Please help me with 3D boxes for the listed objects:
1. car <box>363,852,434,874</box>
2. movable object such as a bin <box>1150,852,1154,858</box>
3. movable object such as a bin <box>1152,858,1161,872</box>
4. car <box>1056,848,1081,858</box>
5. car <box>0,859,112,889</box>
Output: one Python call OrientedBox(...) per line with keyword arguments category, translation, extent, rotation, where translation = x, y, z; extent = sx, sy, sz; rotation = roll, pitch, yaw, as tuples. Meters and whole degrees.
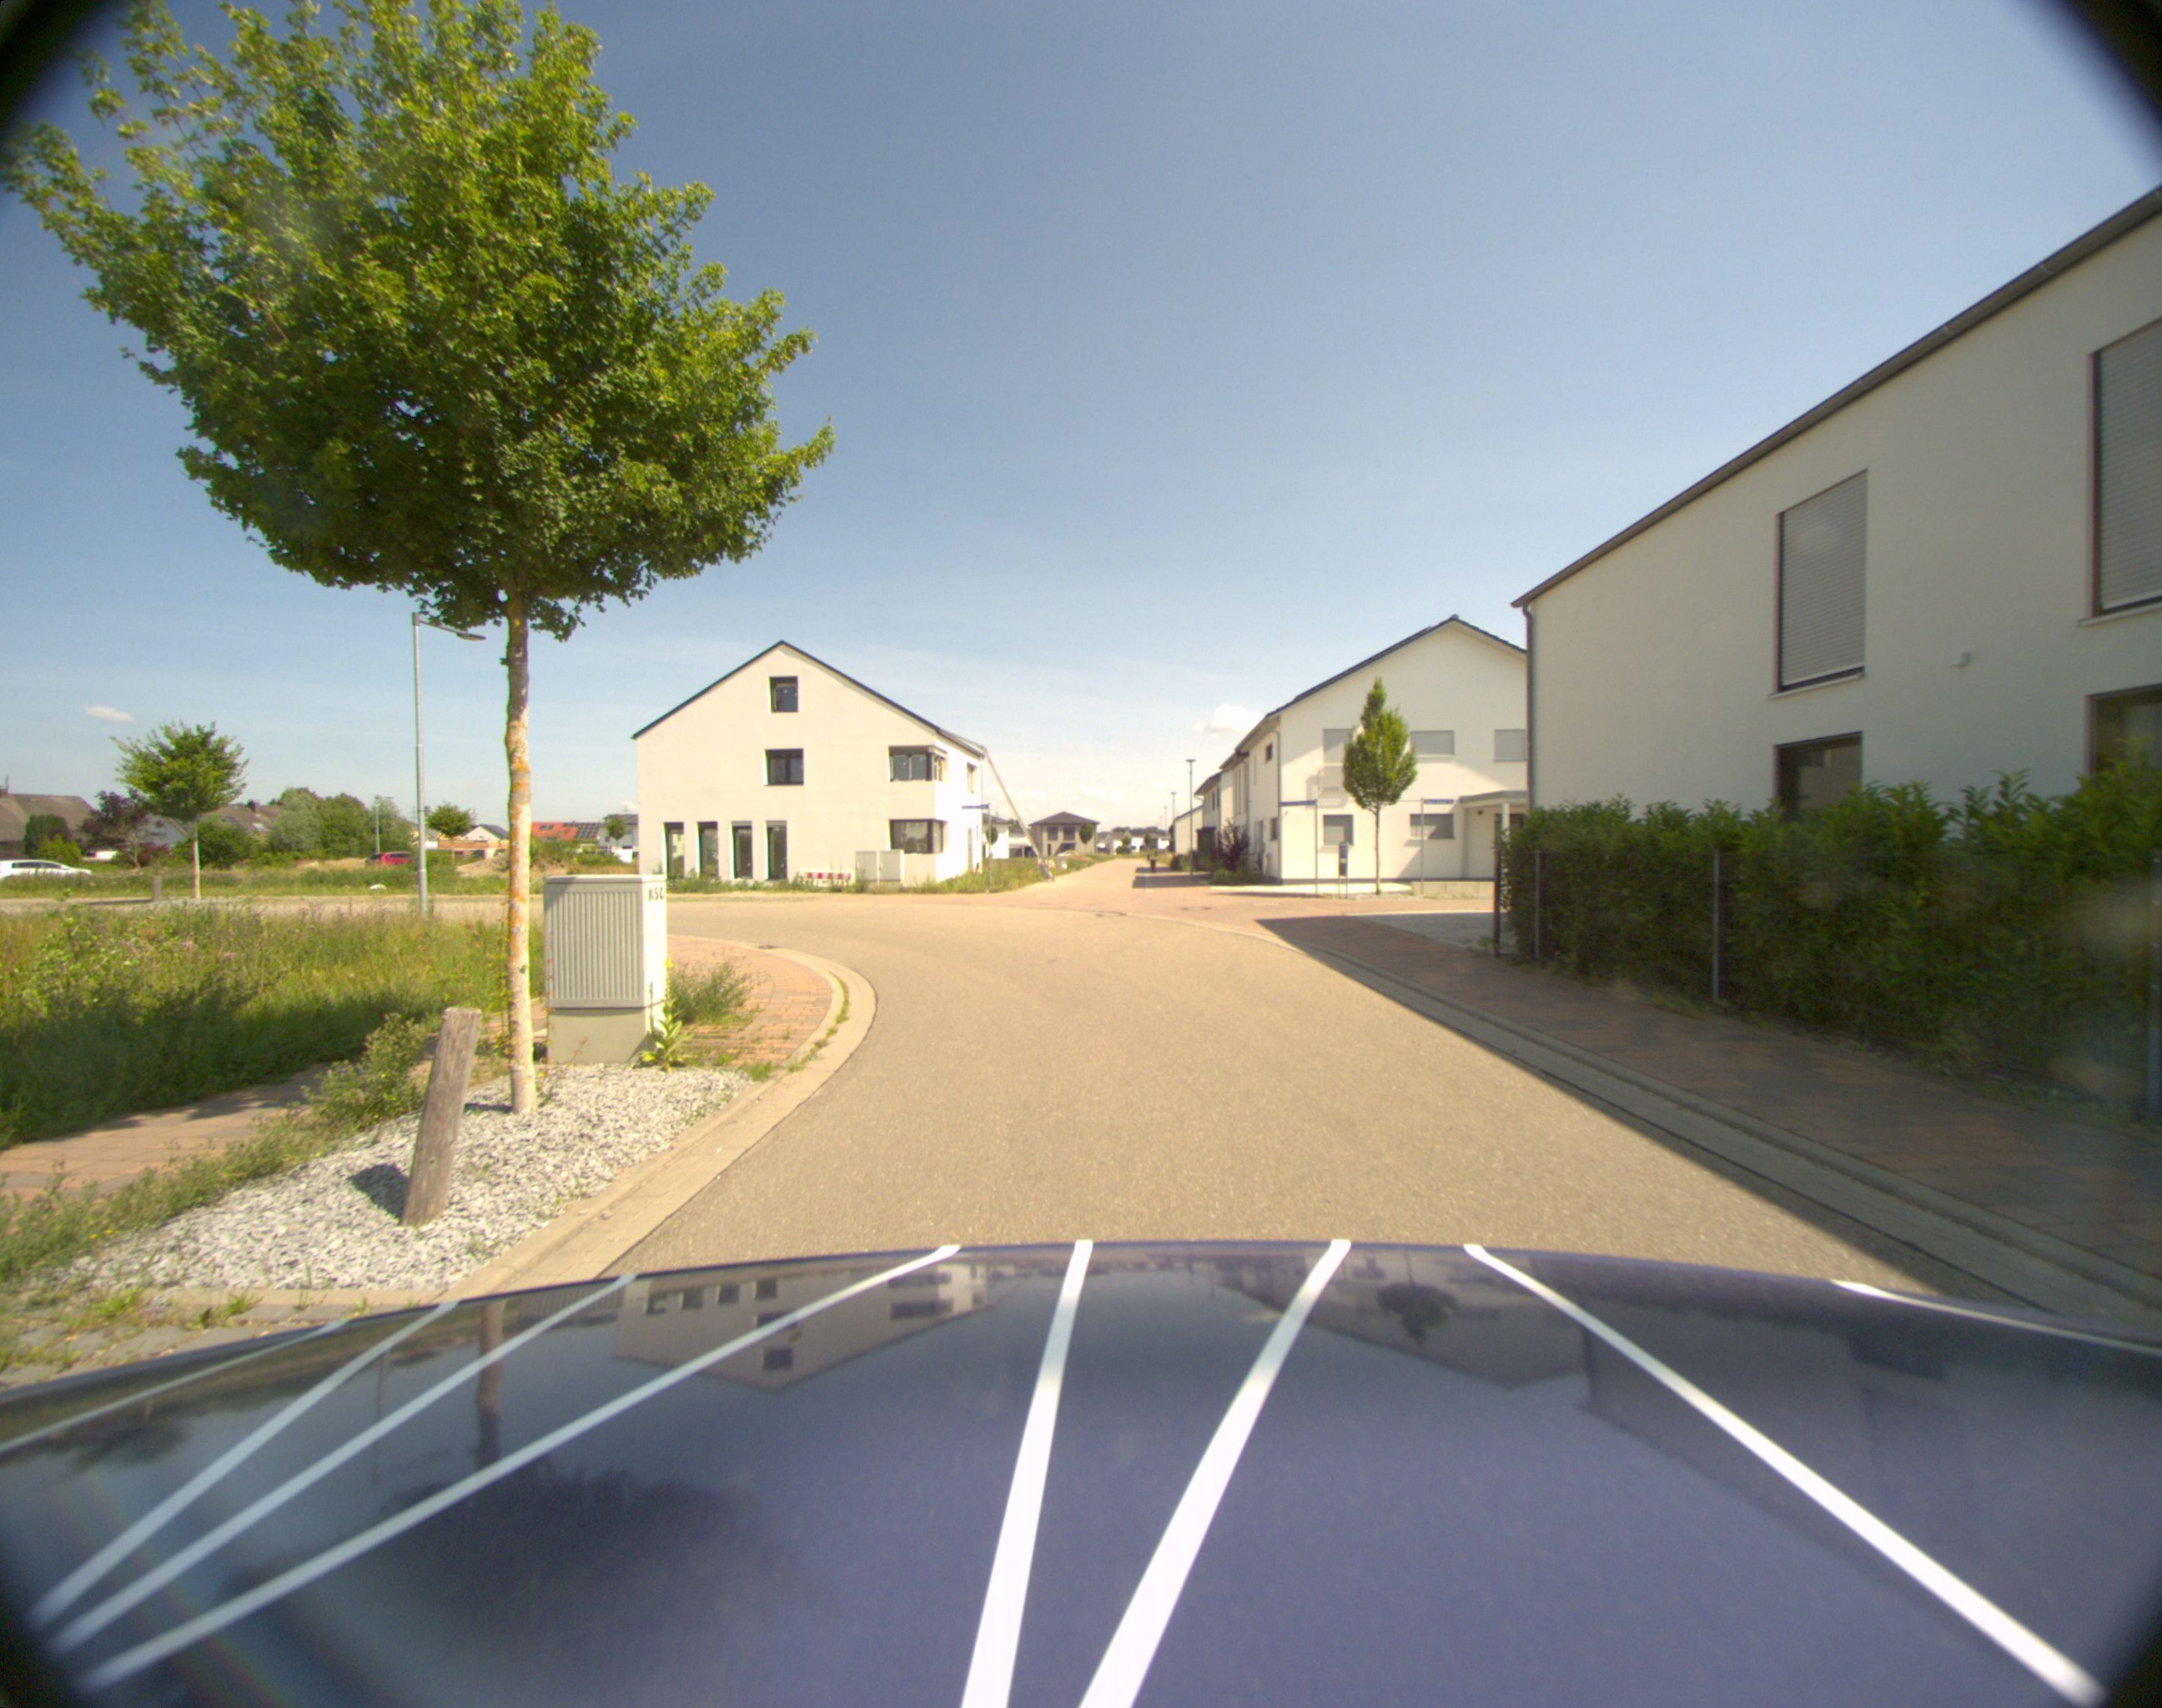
OrientedBox(category="car", translation=(-53.948, 0.682, 60.174), extent=(1.807, 1.606, 4.001), rotation=(0, 1, 5))
OrientedBox(category="movable object such as a bin", translation=(11.269, 0.134, 119.926), extent=(0.597, 0.916, 0.462), rotation=(0, 1, 6))
OrientedBox(category="movable object such as a bin", translation=(4.878, 0.713, 48.919), extent=(0.597, 0.916, 0.462), rotation=(0, 1, 6))
OrientedBox(category="car", translation=(-2.049, -0.197, 124.070), extent=(3.998, 1.543, 1.834), rotation=(0, 1, -3))
OrientedBox(category="car", translation=(-55.953, 1.044, 41.063), extent=(1.807, 1.494, 4.002), rotation=(0, 1, 9))
